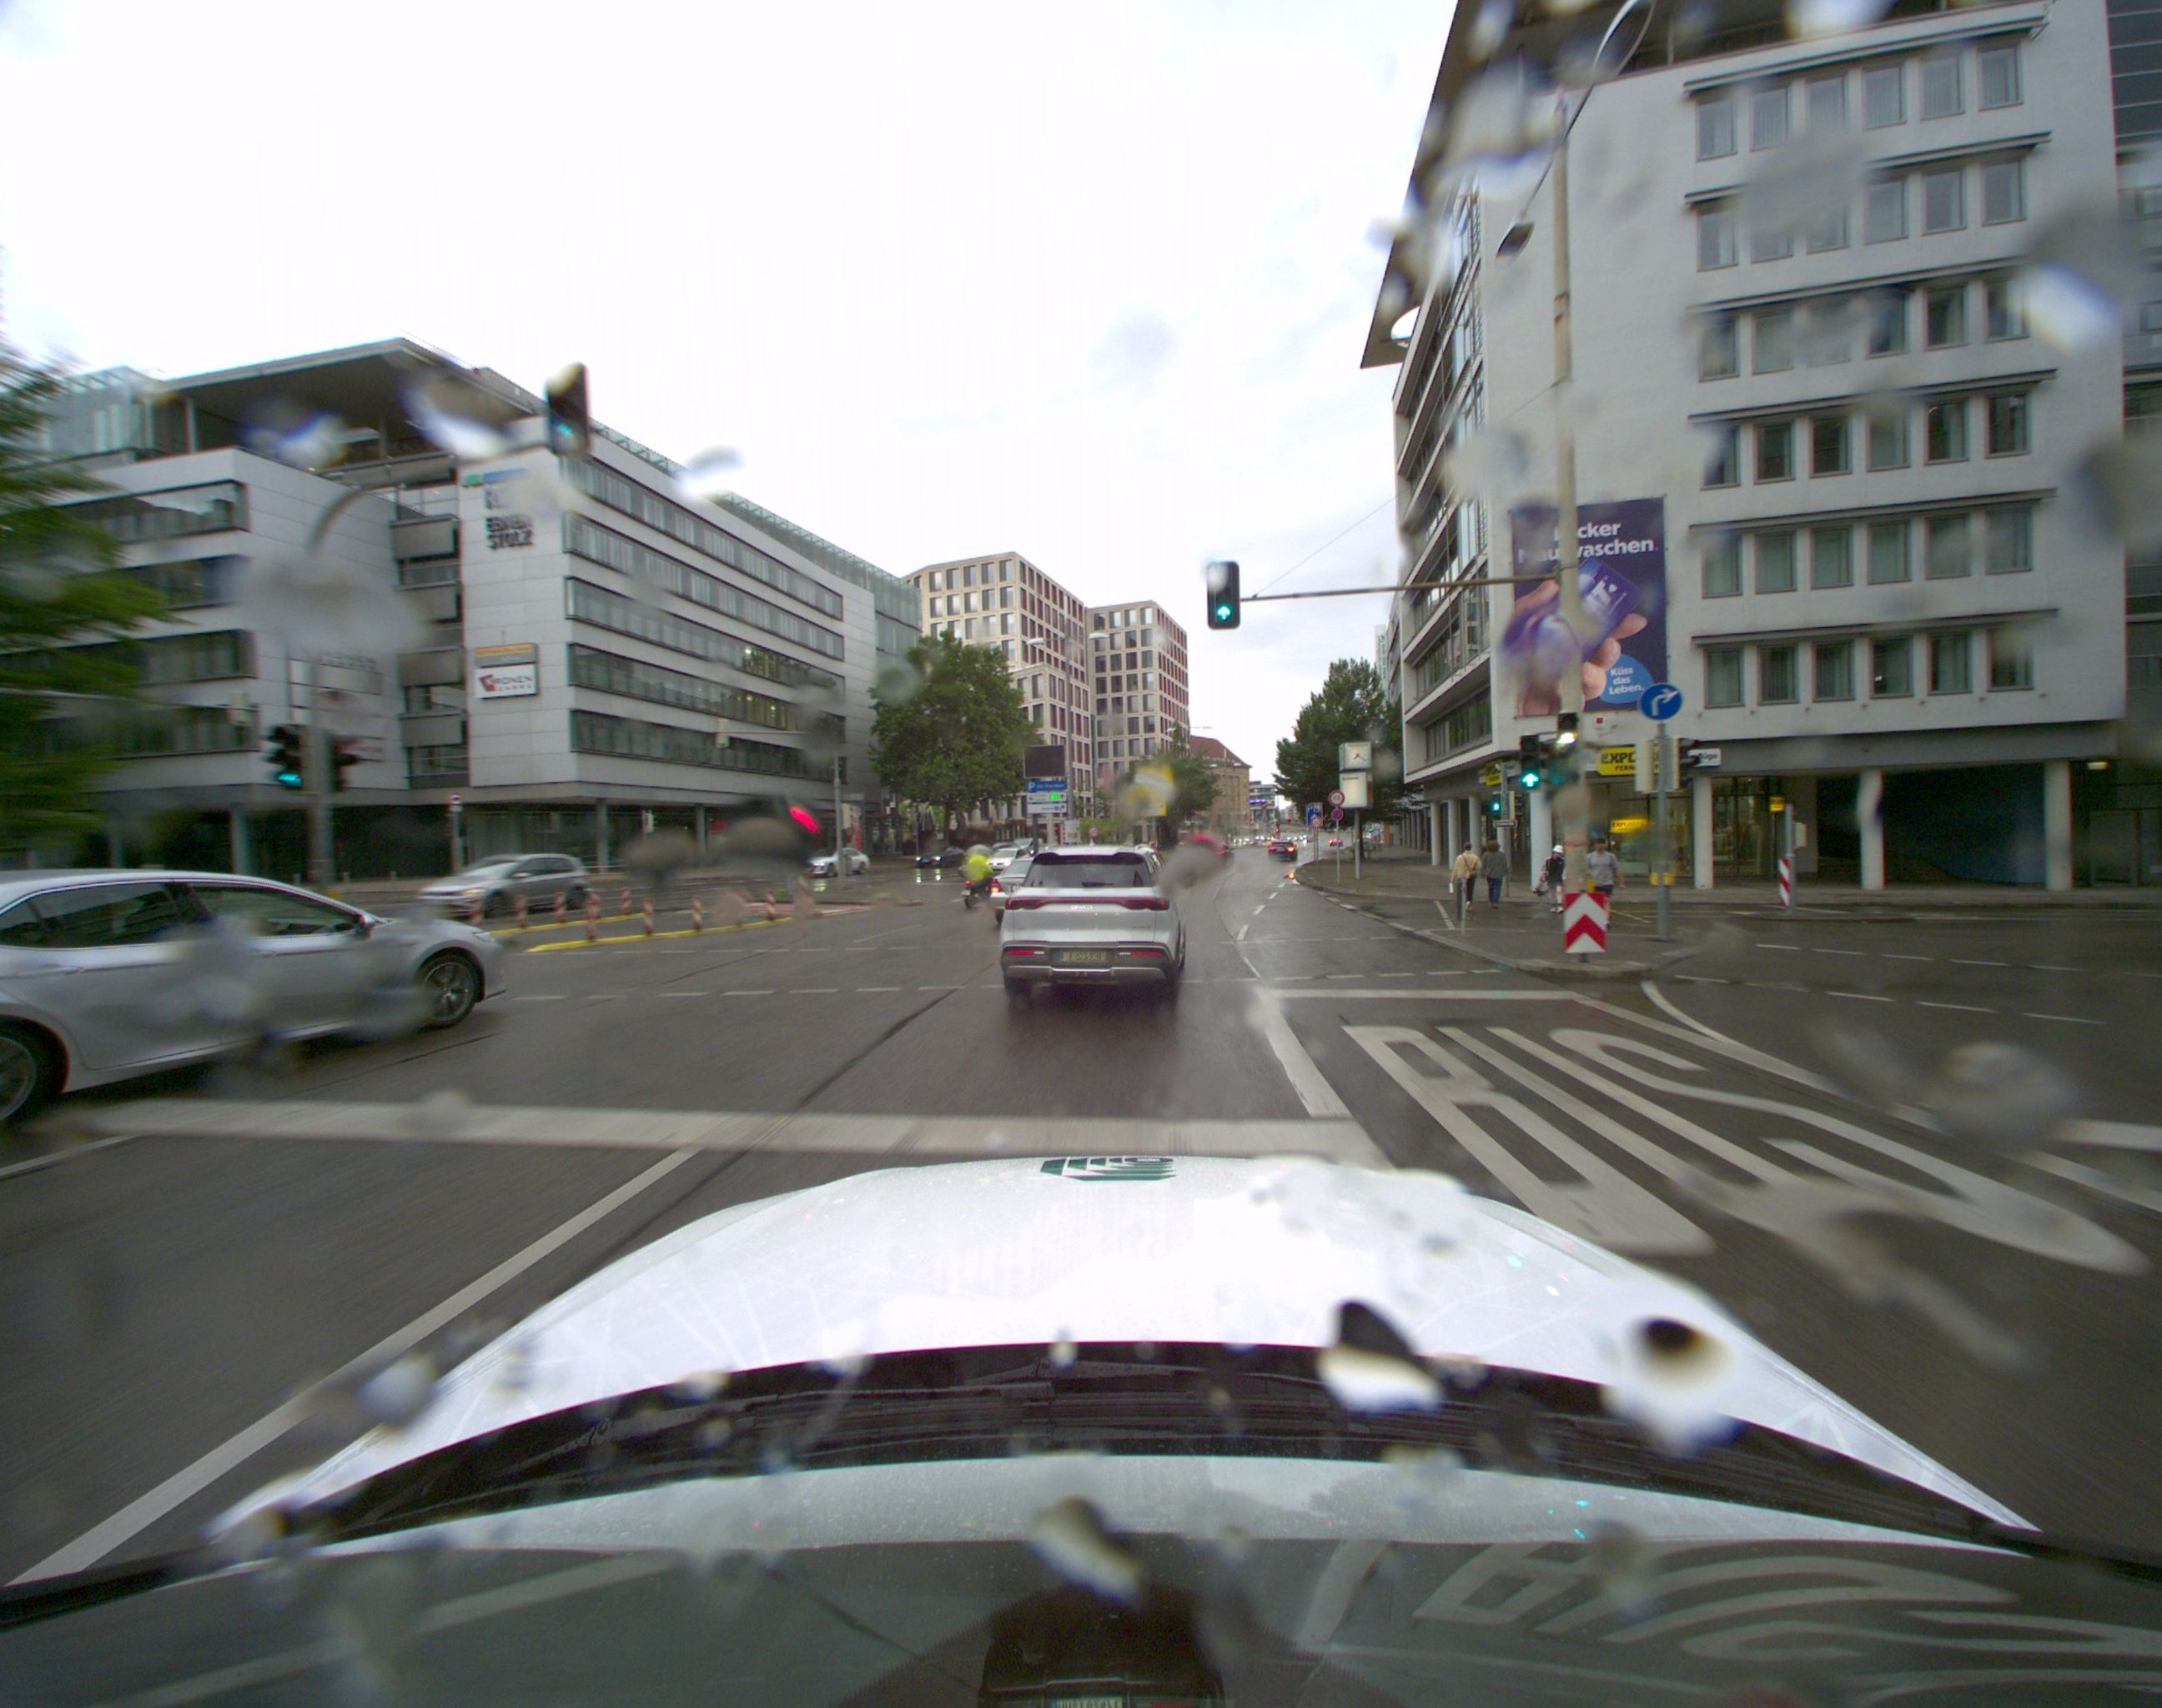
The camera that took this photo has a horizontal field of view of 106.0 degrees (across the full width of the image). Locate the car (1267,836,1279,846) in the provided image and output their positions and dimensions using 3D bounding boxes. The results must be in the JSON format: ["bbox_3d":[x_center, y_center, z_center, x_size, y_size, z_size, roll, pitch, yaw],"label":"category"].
[{"bbox_3d":[33.919,-2.248,143.613,1.874,1.643,4.016,-1,0,14],"label":"car"}]

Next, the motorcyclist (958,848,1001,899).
[{"bbox_3d":[-2.829,0.533,22.802,0.764,1.380,1.123,-1,-1,18],"label":"motorcyclist"}]

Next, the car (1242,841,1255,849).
[{"bbox_3d":[32.123,-1.804,156.171,1.977,1.486,4.020,-1,1,20],"label":"car"}]

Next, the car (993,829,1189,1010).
[{"bbox_3d":[0.345,0.635,9.668,1.765,1.679,4.009,0,-1,9],"label":"car"}]

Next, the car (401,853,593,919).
[{"bbox_3d":[-15.358,0.776,21.707,1.633,1.581,4.099,-1,0,12],"label":"car"}]

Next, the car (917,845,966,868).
[{"bbox_3d":[-9.967,0.171,58.740,1.619,1.559,4.612,-1,1,16],"label":"car"}]

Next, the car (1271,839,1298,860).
[{"bbox_3d":[14.939,-0.278,59.747,1.680,1.486,4.018,-1,-1,17],"label":"car"}]

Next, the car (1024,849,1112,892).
[{"bbox_3d":[-0.407,0.593,30.358,1.691,1.486,4.023,-1,-1,25],"label":"car"}]

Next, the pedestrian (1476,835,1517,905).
[{"bbox_3d":[10.905,0.406,21.412,0.743,1.798,0.819,-1,0,12],"label":"pedestrian"}]

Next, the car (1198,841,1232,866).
[{"bbox_3d":[8.486,-0.006,51.343,1.558,1.486,4.018,-1,-1,18],"label":"car"}]

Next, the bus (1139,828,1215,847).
[{"bbox_3d":[22.152,-3.715,188.217,16.839,4.063,4.455,0,-1,15],"label":"bus"}]

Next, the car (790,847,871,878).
[{"bbox_3d":[-13.802,0.426,45.268,1.800,1.510,5.217,-1,1,15],"label":"car"}]

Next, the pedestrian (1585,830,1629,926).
[{"bbox_3d":[10.080,0.443,15.610,0.662,1.794,0.778,-1,0,35],"label":"pedestrian"}]

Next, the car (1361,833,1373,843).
[{"bbox_3d":[65.602,-3.646,186.750,1.980,2.014,4.013,0,-1,12],"label":"car"}]

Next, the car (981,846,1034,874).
[{"bbox_3d":[-4.066,0.310,45.459,1.619,1.437,3.924,-1,1,16],"label":"car"}]

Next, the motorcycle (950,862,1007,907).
[{"bbox_3d":[-2.833,0.826,22.764,0.793,1.185,2.038,-1,-1,18],"label":"motorcycle"}]

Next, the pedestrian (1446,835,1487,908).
[{"bbox_3d":[9.669,0.429,20.465,0.743,1.798,0.819,-1,0,12],"label":"pedestrian"}]

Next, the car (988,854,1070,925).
[{"bbox_3d":[-1.072,0.741,18.393,1.565,1.407,4.109,0,-1,0],"label":"car"}]

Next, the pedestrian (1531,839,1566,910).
[{"bbox_3d":[11.186,0.479,19.488,0.662,1.655,0.657,-1,0,35],"label":"pedestrian"}]

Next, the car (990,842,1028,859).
[{"bbox_3d":[-6.768,-0.335,77.050,1.977,1.488,4.020,-1,1,20],"label":"car"}]

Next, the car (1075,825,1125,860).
[{"bbox_3d":[1.248,-0.648,50.530,1.979,2.014,4.868,0,-1,15],"label":"car"}]

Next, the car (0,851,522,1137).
[{"bbox_3d":[-6.604,0.752,5.622,1.856,1.533,4.785,0,0,6],"label":"car"}]

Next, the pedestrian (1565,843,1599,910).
[{"bbox_3d":[11.826,0.516,19.225,0.618,1.543,0.657,-1,0,35],"label":"pedestrian"}]

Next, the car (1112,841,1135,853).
[{"bbox_3d":[5.722,-0.914,109.737,1.977,1.488,4.020,-1,1,20],"label":"car"}]

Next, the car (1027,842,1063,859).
[{"bbox_3d":[-3.343,-0.350,76.712,1.977,1.488,4.020,-1,1,20],"label":"car"}]

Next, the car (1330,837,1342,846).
[{"bbox_3d":[44.816,-2.200,143.308,1.679,1.486,4.021,-1,-1,22],"label":"car"}]
